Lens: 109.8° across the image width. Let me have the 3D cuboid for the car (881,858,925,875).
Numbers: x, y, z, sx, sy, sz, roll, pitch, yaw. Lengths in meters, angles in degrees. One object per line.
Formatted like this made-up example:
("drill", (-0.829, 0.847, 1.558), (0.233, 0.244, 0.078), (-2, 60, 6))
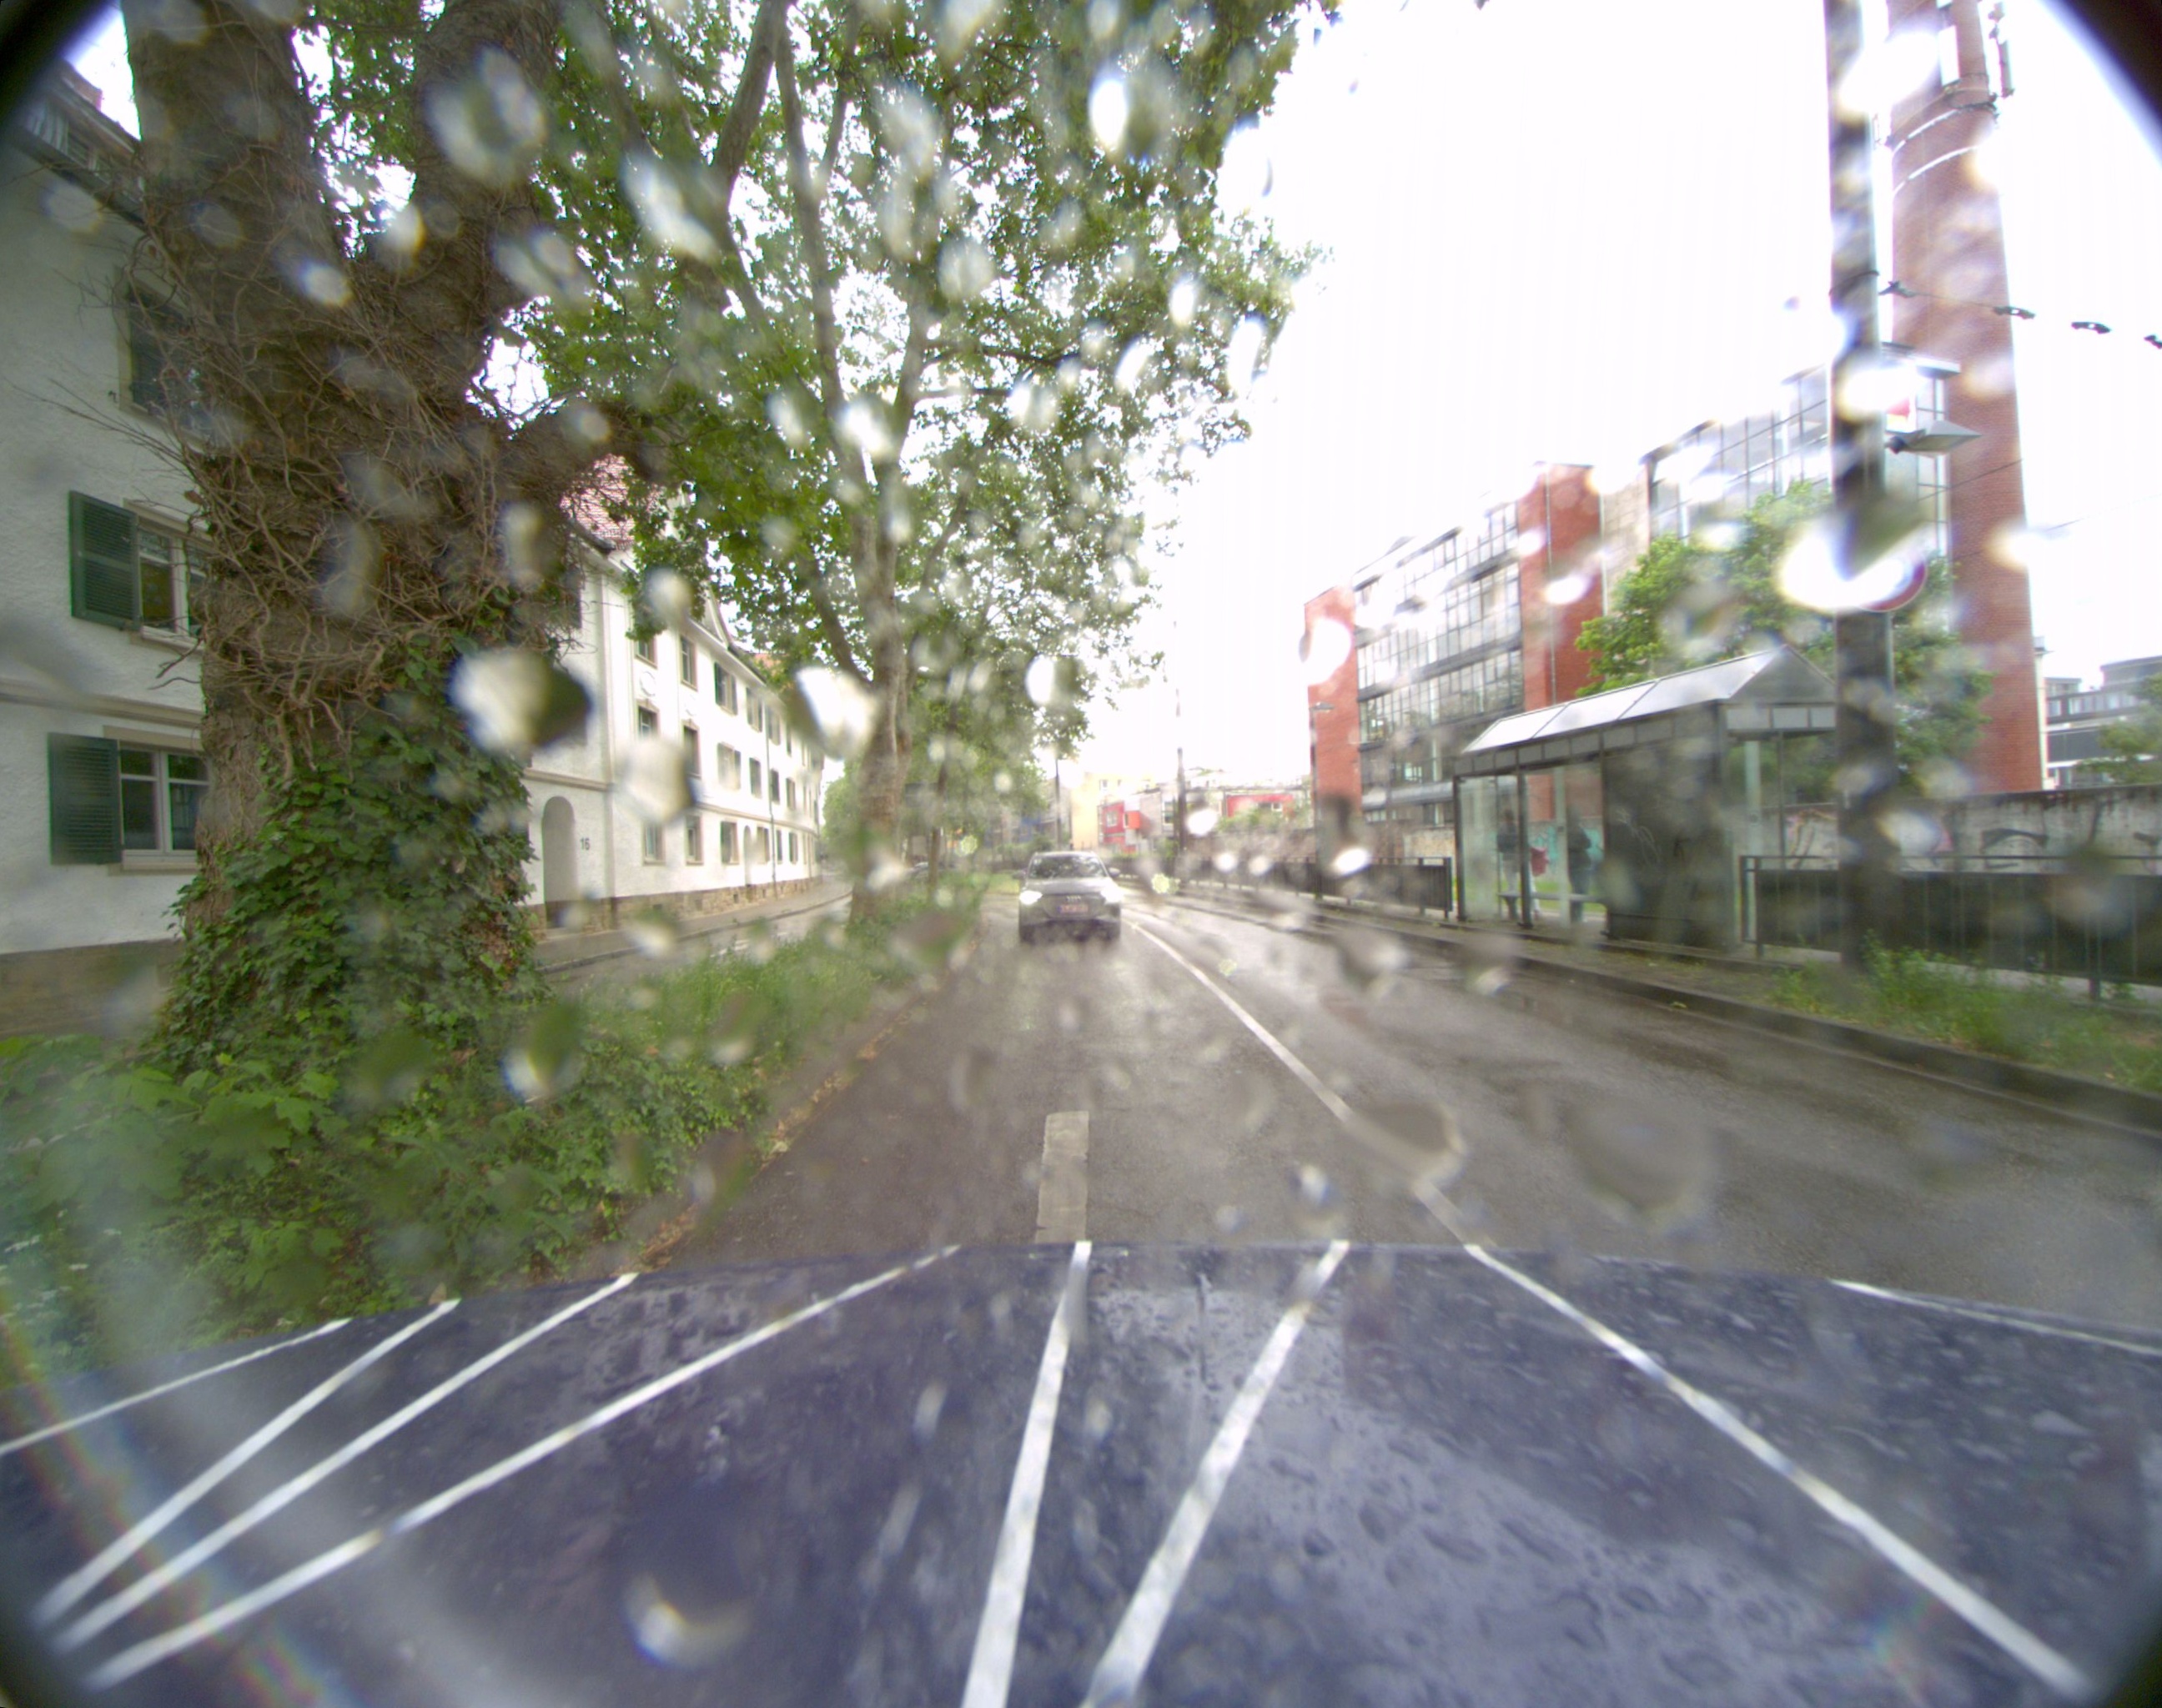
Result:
("car", (-22.202, 1.565, 94.726), (4.884, 2.002, 2.002), (-1, 0, 11))

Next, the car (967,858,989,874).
("car", (-11.832, 1.356, 87.109), (1.694, 1.713, 3.685), (-1, 0, -20))

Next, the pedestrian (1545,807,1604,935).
("pedestrian", (6.882, 0.232, 10.602), (0.584, 1.721, 0.566), (-1, 1, -43))

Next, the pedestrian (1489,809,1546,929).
("pedestrian", (6.487, 0.220, 11.290), (0.584, 1.721, 0.566), (-1, 1, -41))

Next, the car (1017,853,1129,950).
("car", (-0.252, 0.809, 15.025), (1.851, 1.586, 4.215), (-2, 0, -3))

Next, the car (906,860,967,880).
("car", (-11.374, 1.266, 59.921), (4.224, 1.532, 1.932), (-1, 0, 11))

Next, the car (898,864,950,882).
("car", (-14.516, 1.764, 70.223), (4.328, 1.603, 1.749), (-1, 0, 6))
